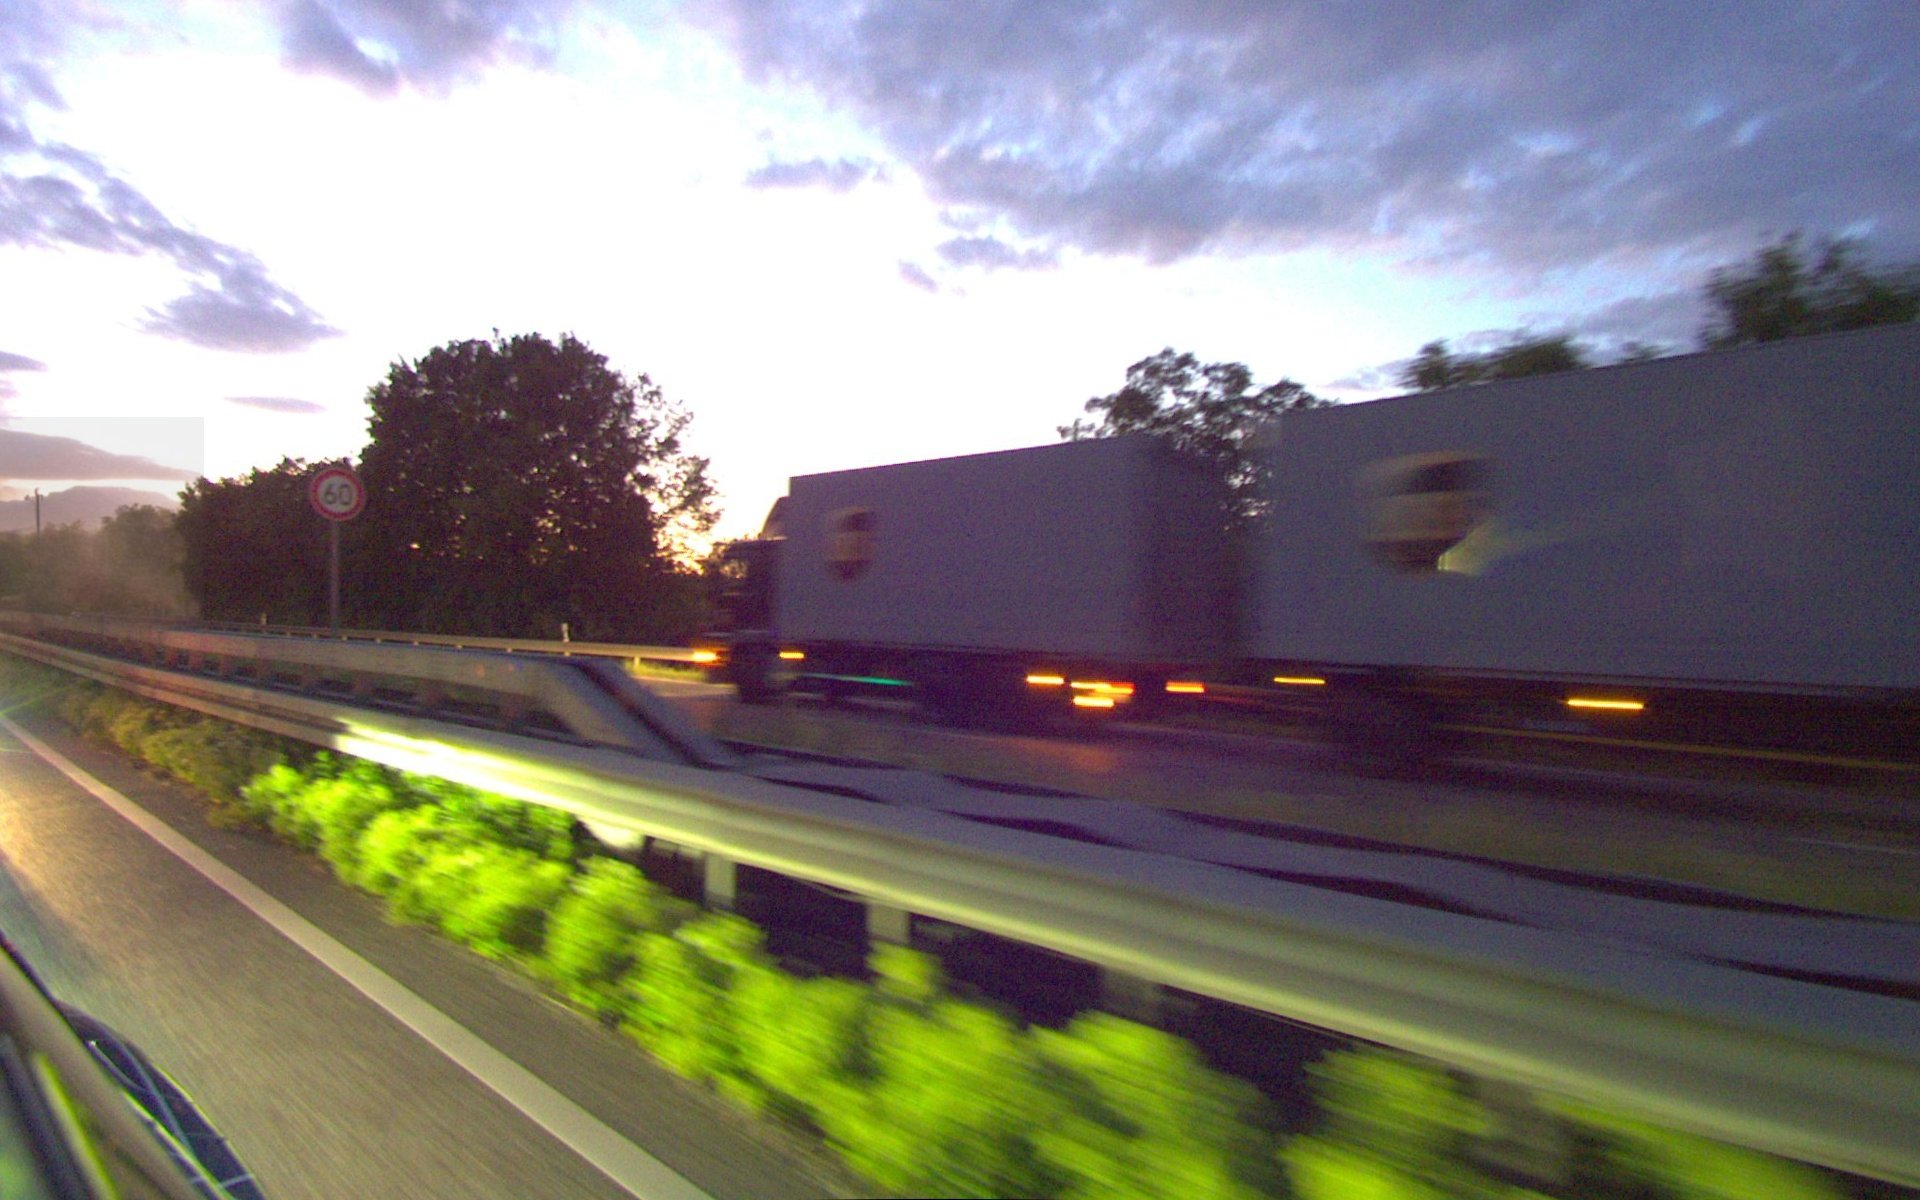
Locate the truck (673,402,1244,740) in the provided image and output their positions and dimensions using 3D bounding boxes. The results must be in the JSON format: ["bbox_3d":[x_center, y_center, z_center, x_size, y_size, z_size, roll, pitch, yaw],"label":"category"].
[{"bbox_3d":[-0.704,-0.382,16.873,10.342,4.148,2.697,0,0,42],"label":"truck"}]

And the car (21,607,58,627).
[{"bbox_3d":[-74.311,1.370,81.660,4.588,1.516,1.612,0,-2,41],"label":"car"}]

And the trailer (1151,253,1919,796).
[{"bbox_3d":[6.295,-0.506,10.102,2.545,3.973,8.889,3,-2,-42],"label":"trailer"}]
